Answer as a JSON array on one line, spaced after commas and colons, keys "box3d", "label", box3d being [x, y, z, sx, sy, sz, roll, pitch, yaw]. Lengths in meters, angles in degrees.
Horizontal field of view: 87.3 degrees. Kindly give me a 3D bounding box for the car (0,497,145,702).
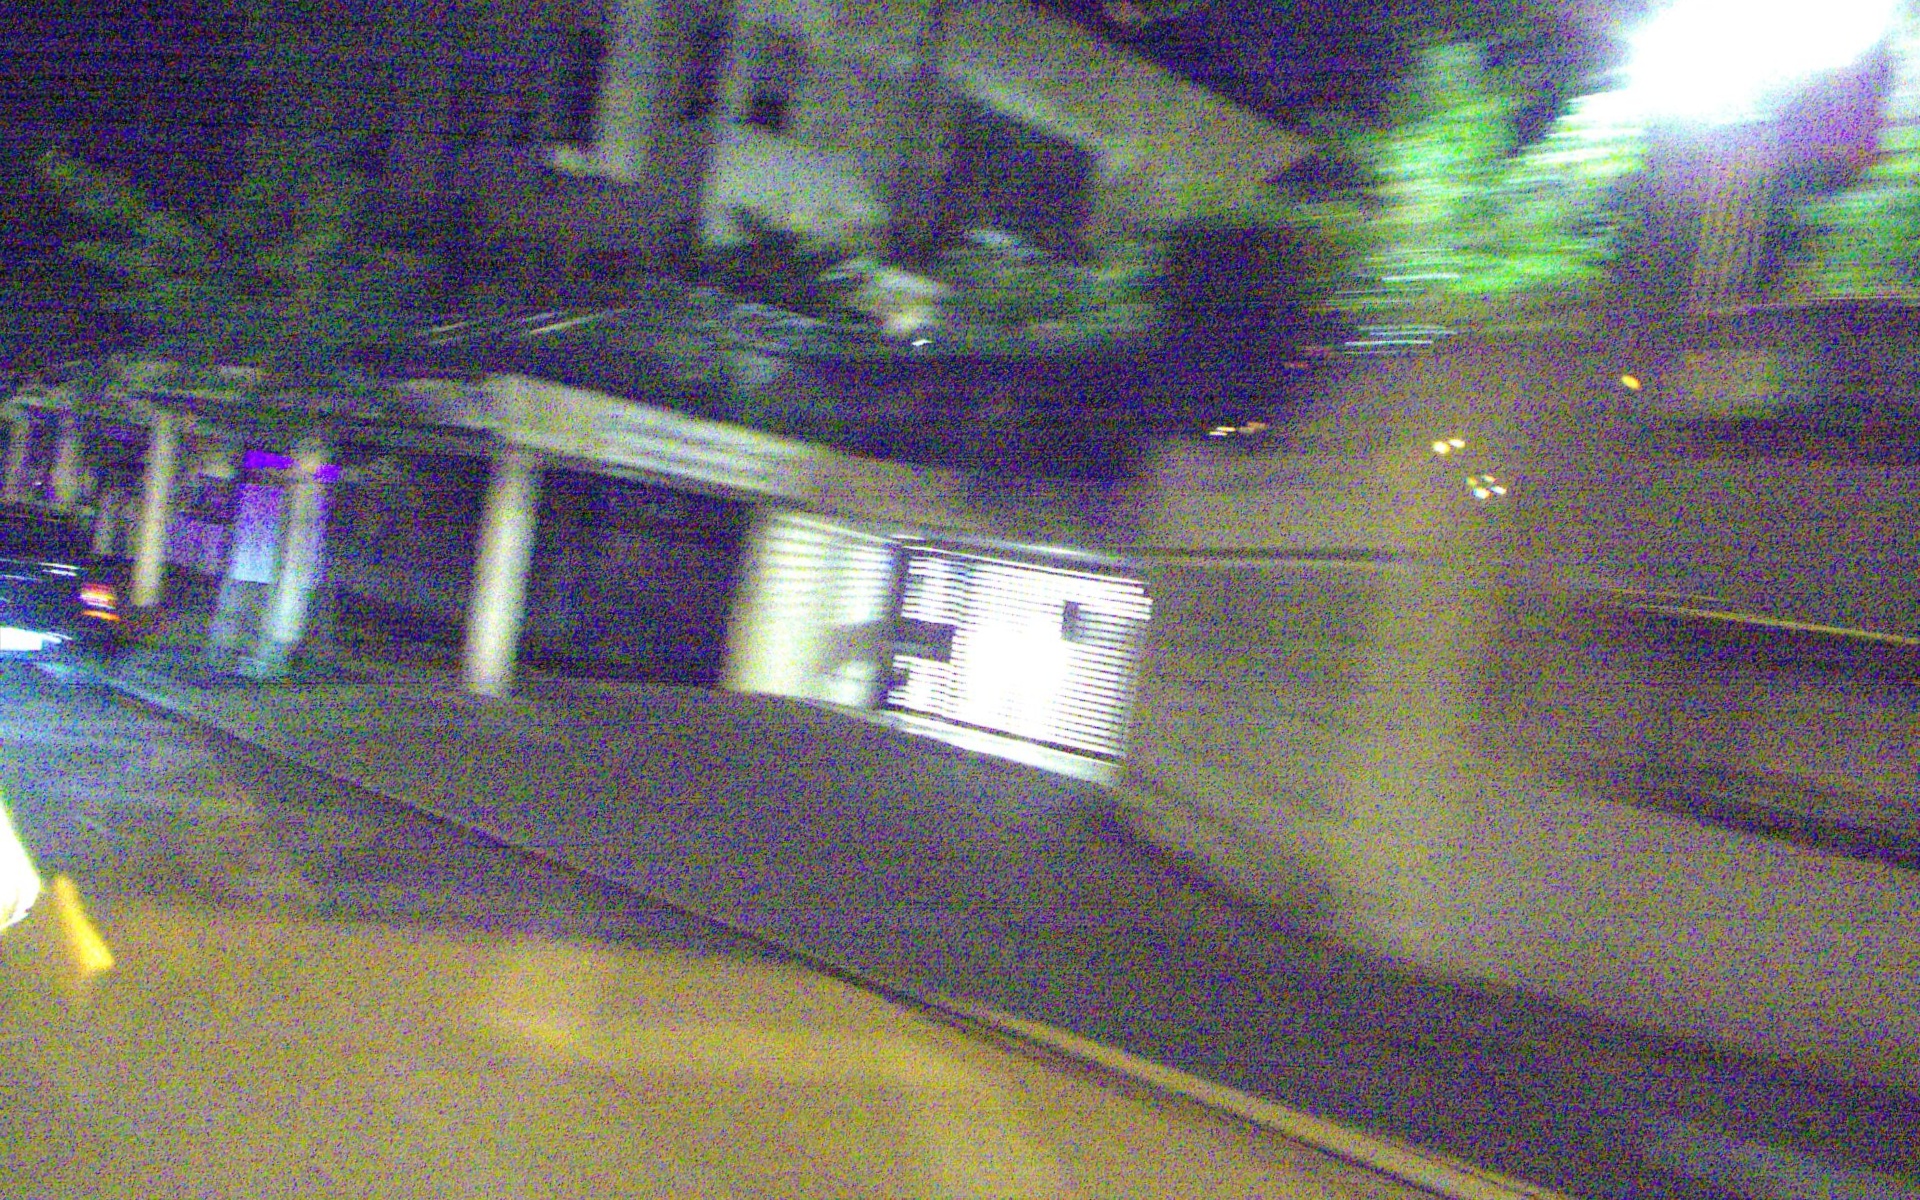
[{"box3d": [-8.575, -0.198, 8.223, 3.799, 1.456, 1.633, 7, -1, 30], "label": "car"}]
